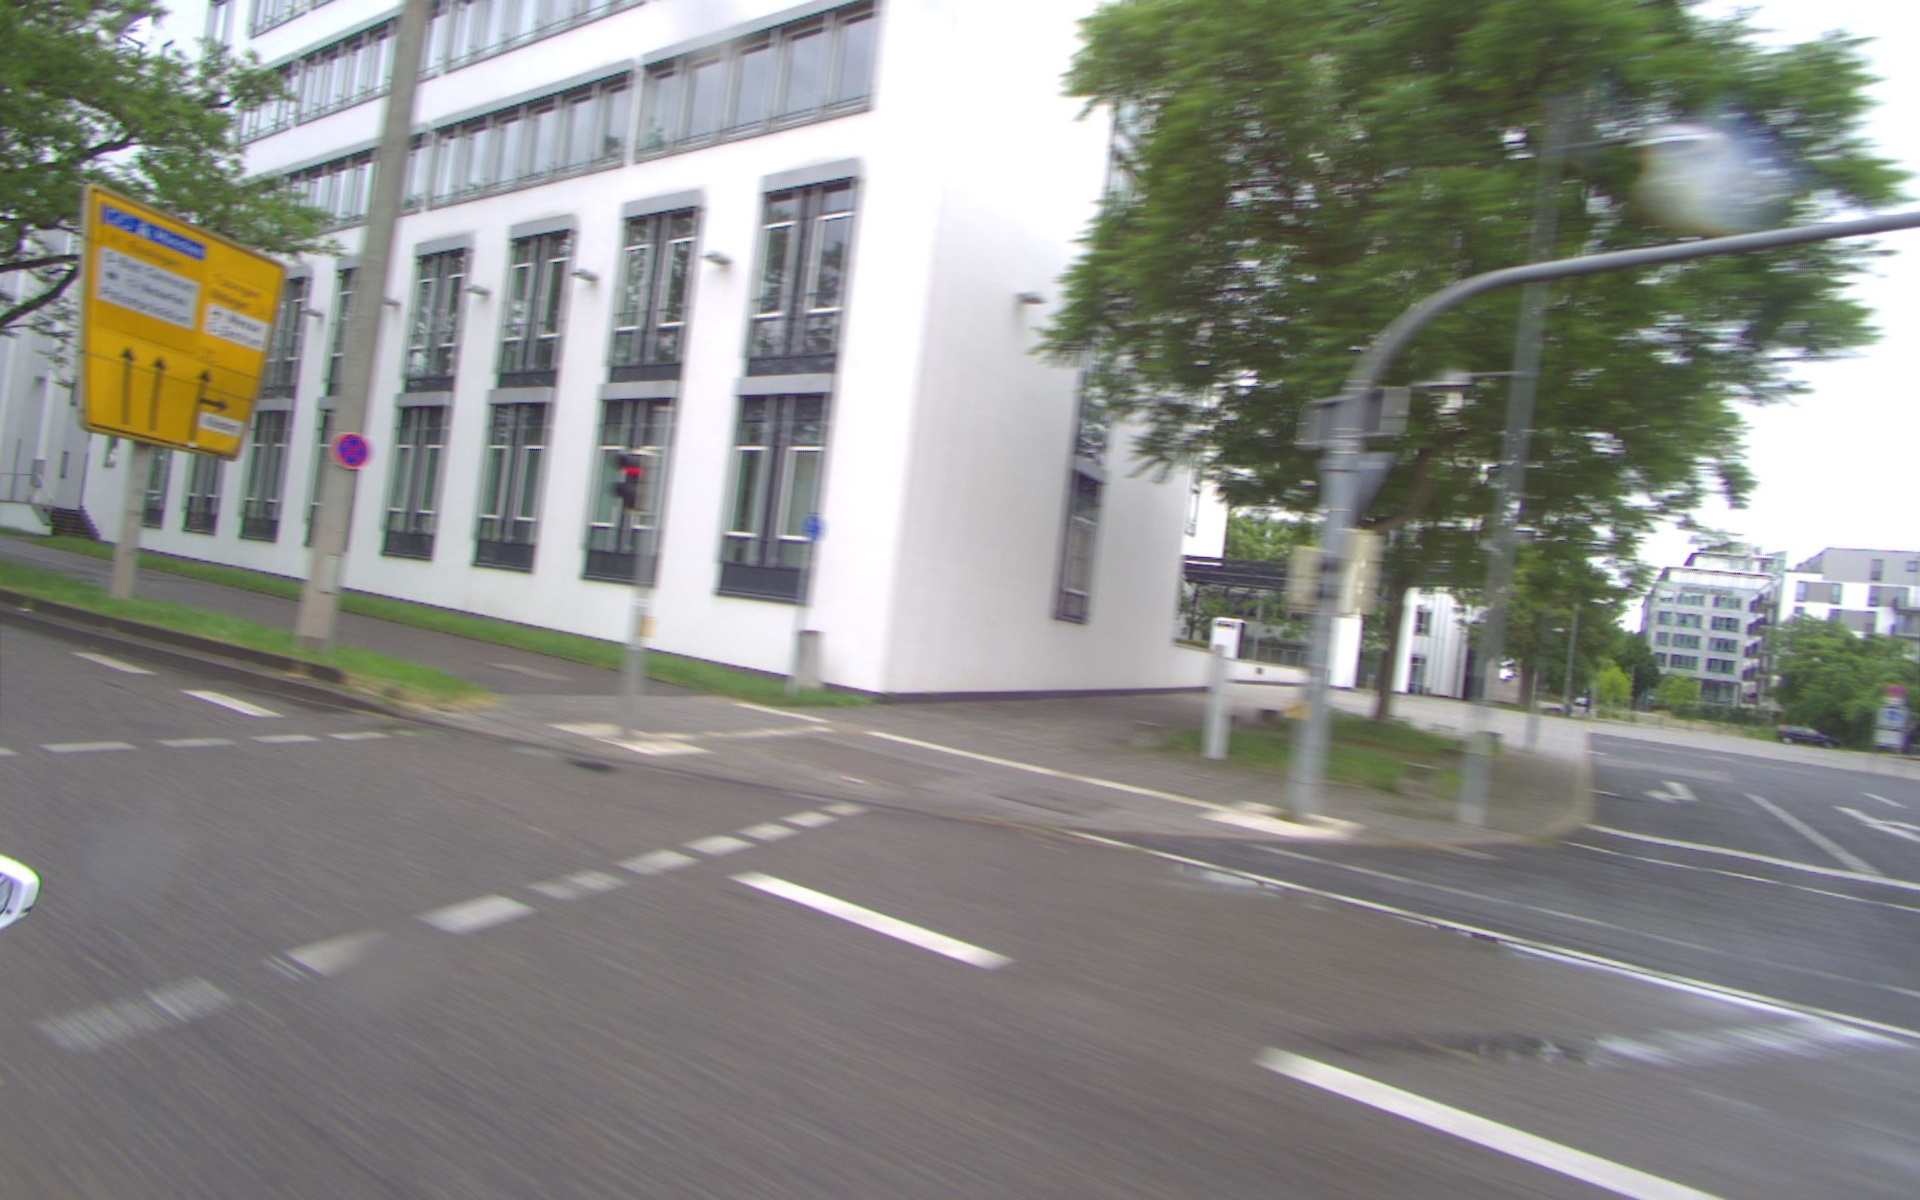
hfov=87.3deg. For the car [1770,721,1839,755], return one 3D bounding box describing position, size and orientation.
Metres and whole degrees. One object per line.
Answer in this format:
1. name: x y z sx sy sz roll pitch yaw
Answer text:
1. car: 67.138 10.964 80.056 3.938 2.036 1.996 5 -3 35
